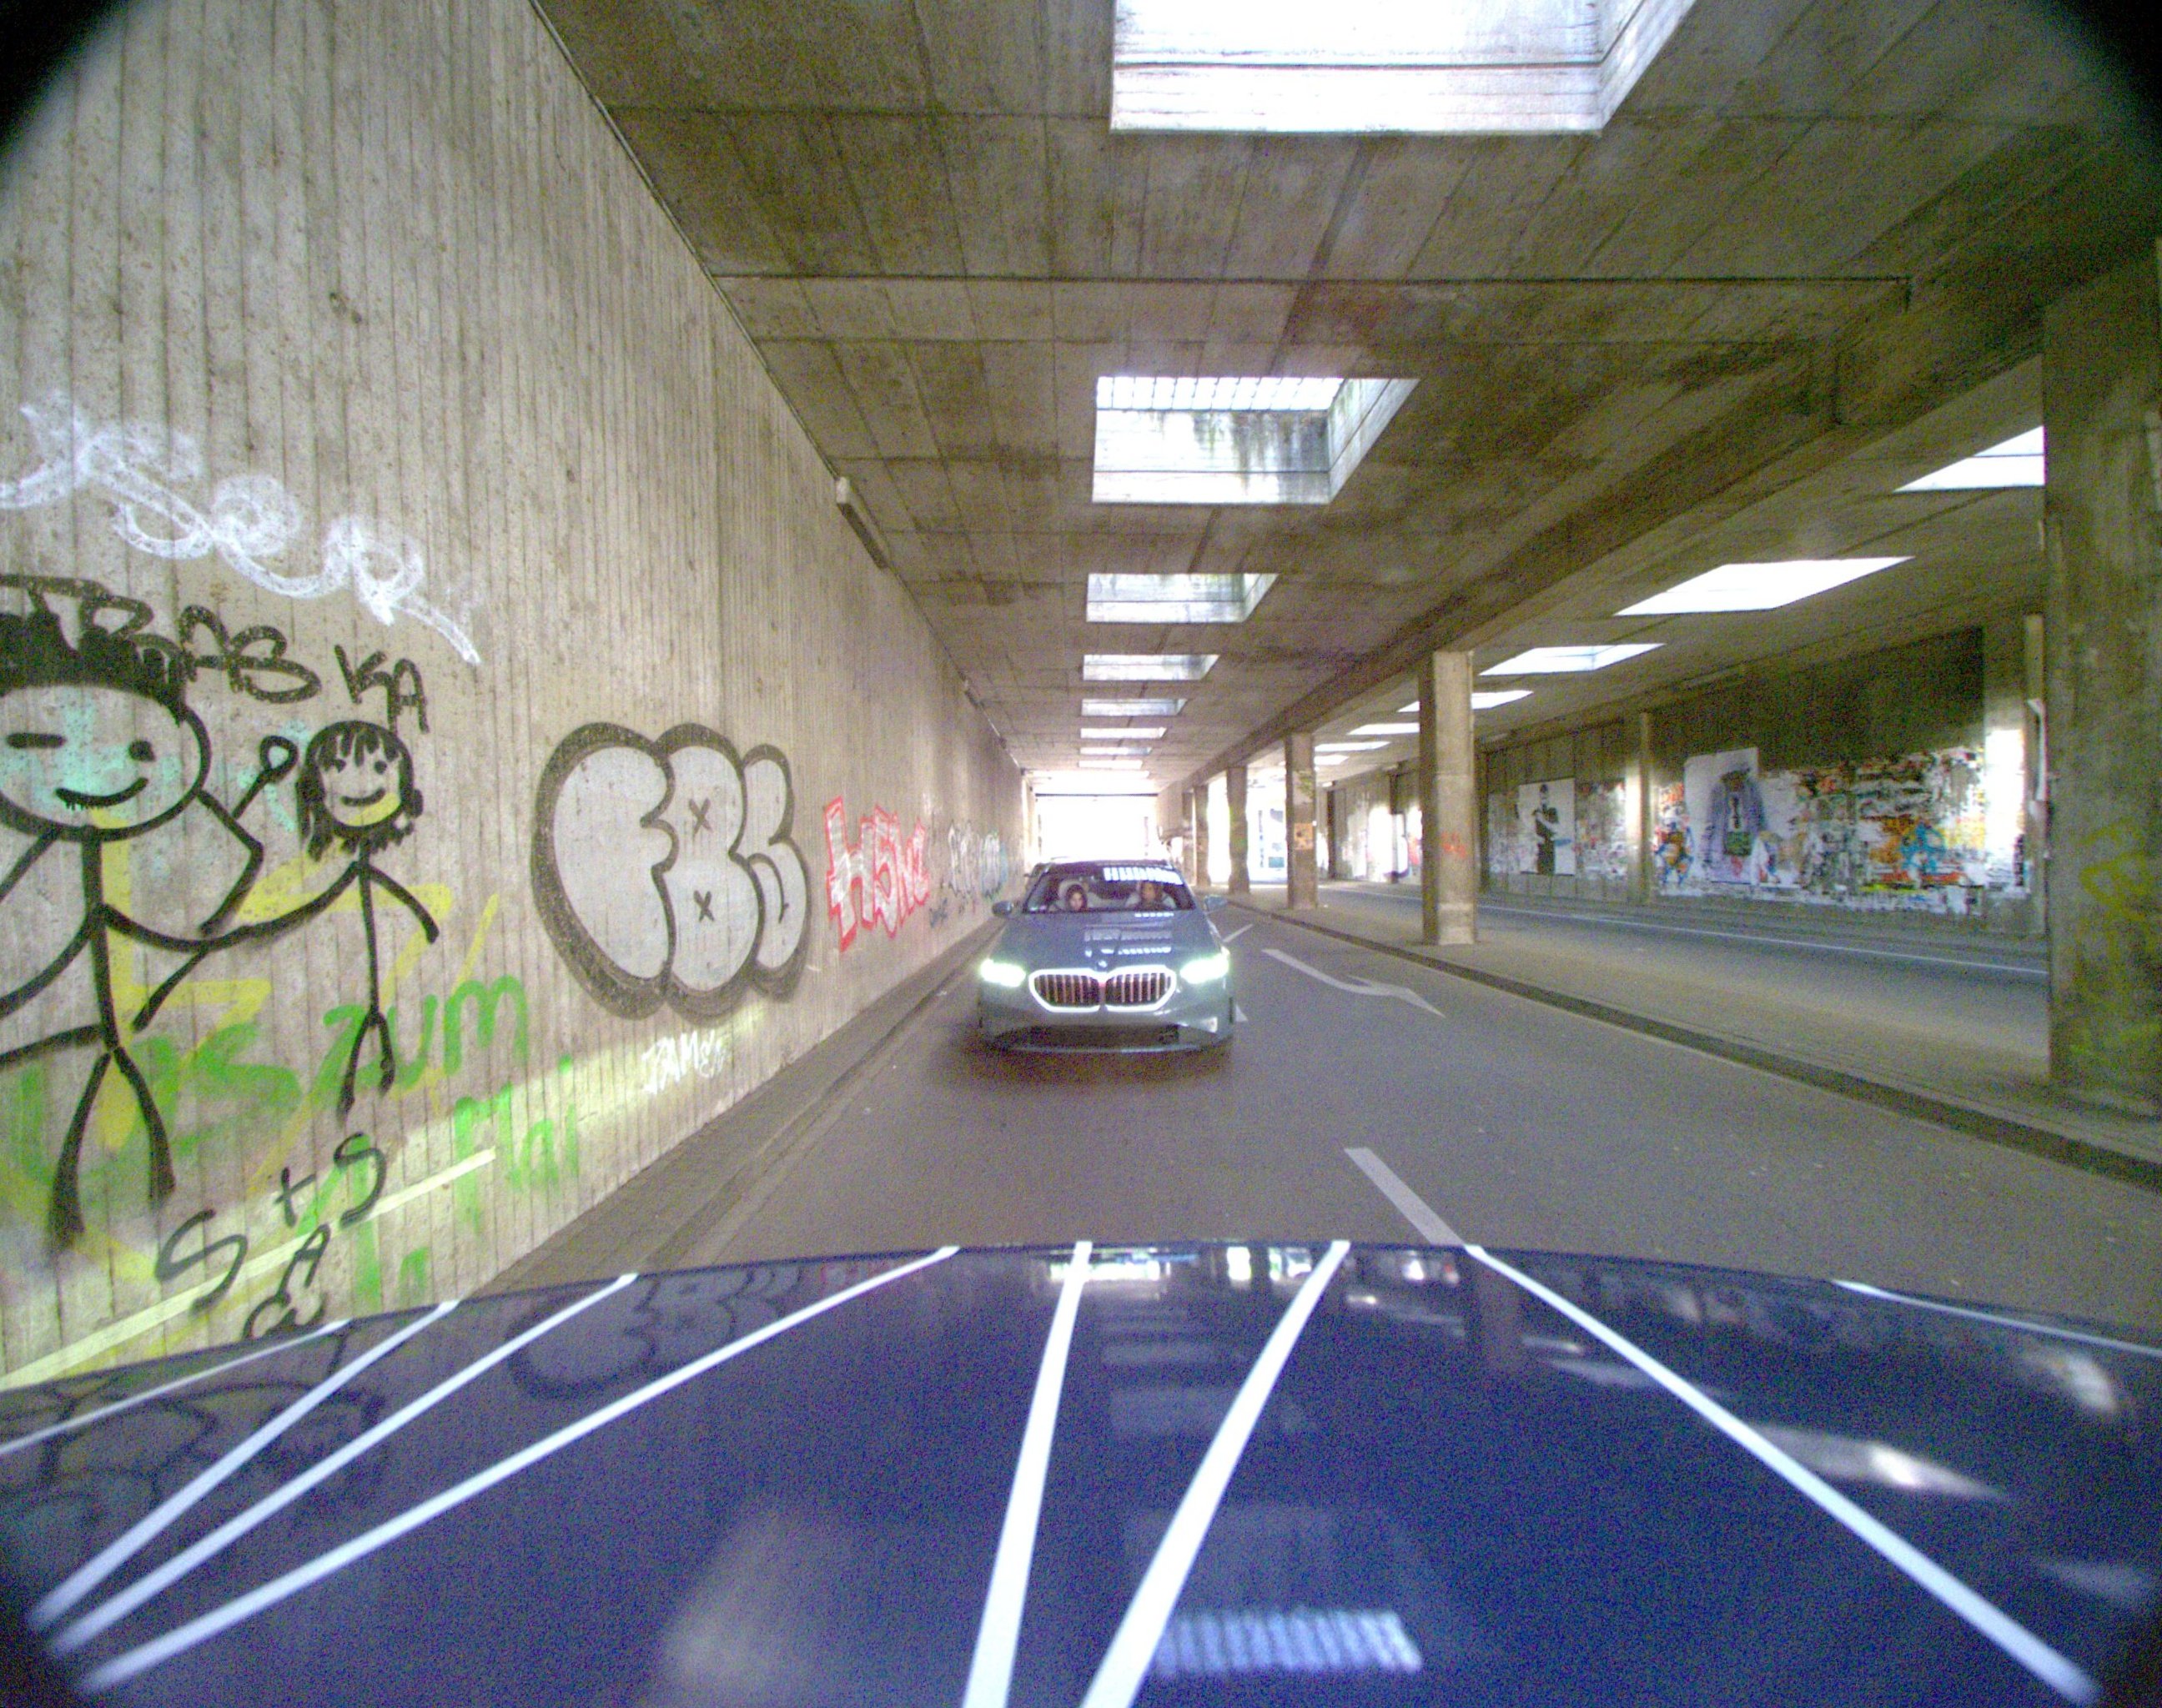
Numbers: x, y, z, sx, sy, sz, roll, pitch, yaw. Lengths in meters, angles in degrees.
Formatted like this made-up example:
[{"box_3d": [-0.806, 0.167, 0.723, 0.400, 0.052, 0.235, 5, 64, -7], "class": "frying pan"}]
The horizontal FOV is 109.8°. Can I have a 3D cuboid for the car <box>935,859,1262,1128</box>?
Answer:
[{"box_3d": [0.188, 0.890, 7.302, 1.998, 1.594, 5.176, -1, 0, 2], "class": "car"}]

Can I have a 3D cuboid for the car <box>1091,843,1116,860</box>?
[{"box_3d": [2.871, -0.321, 97.514, 2.361, 2.002, 5.146, -1, 0, -8], "class": "car"}]

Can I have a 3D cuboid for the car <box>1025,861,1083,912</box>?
[{"box_3d": [-0.786, 0.956, 23.876, 1.593, 1.387, 3.833, -2, 0, 1], "class": "car"}]

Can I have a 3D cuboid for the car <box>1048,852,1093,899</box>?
[{"box_3d": [-0.362, 0.775, 29.883, 1.581, 1.676, 4.078, -2, 0, 1], "class": "car"}]

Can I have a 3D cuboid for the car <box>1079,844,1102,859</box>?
[{"box_3d": [1.217, -0.328, 103.527, 2.361, 2.002, 5.146, -1, 0, -8], "class": "car"}]
